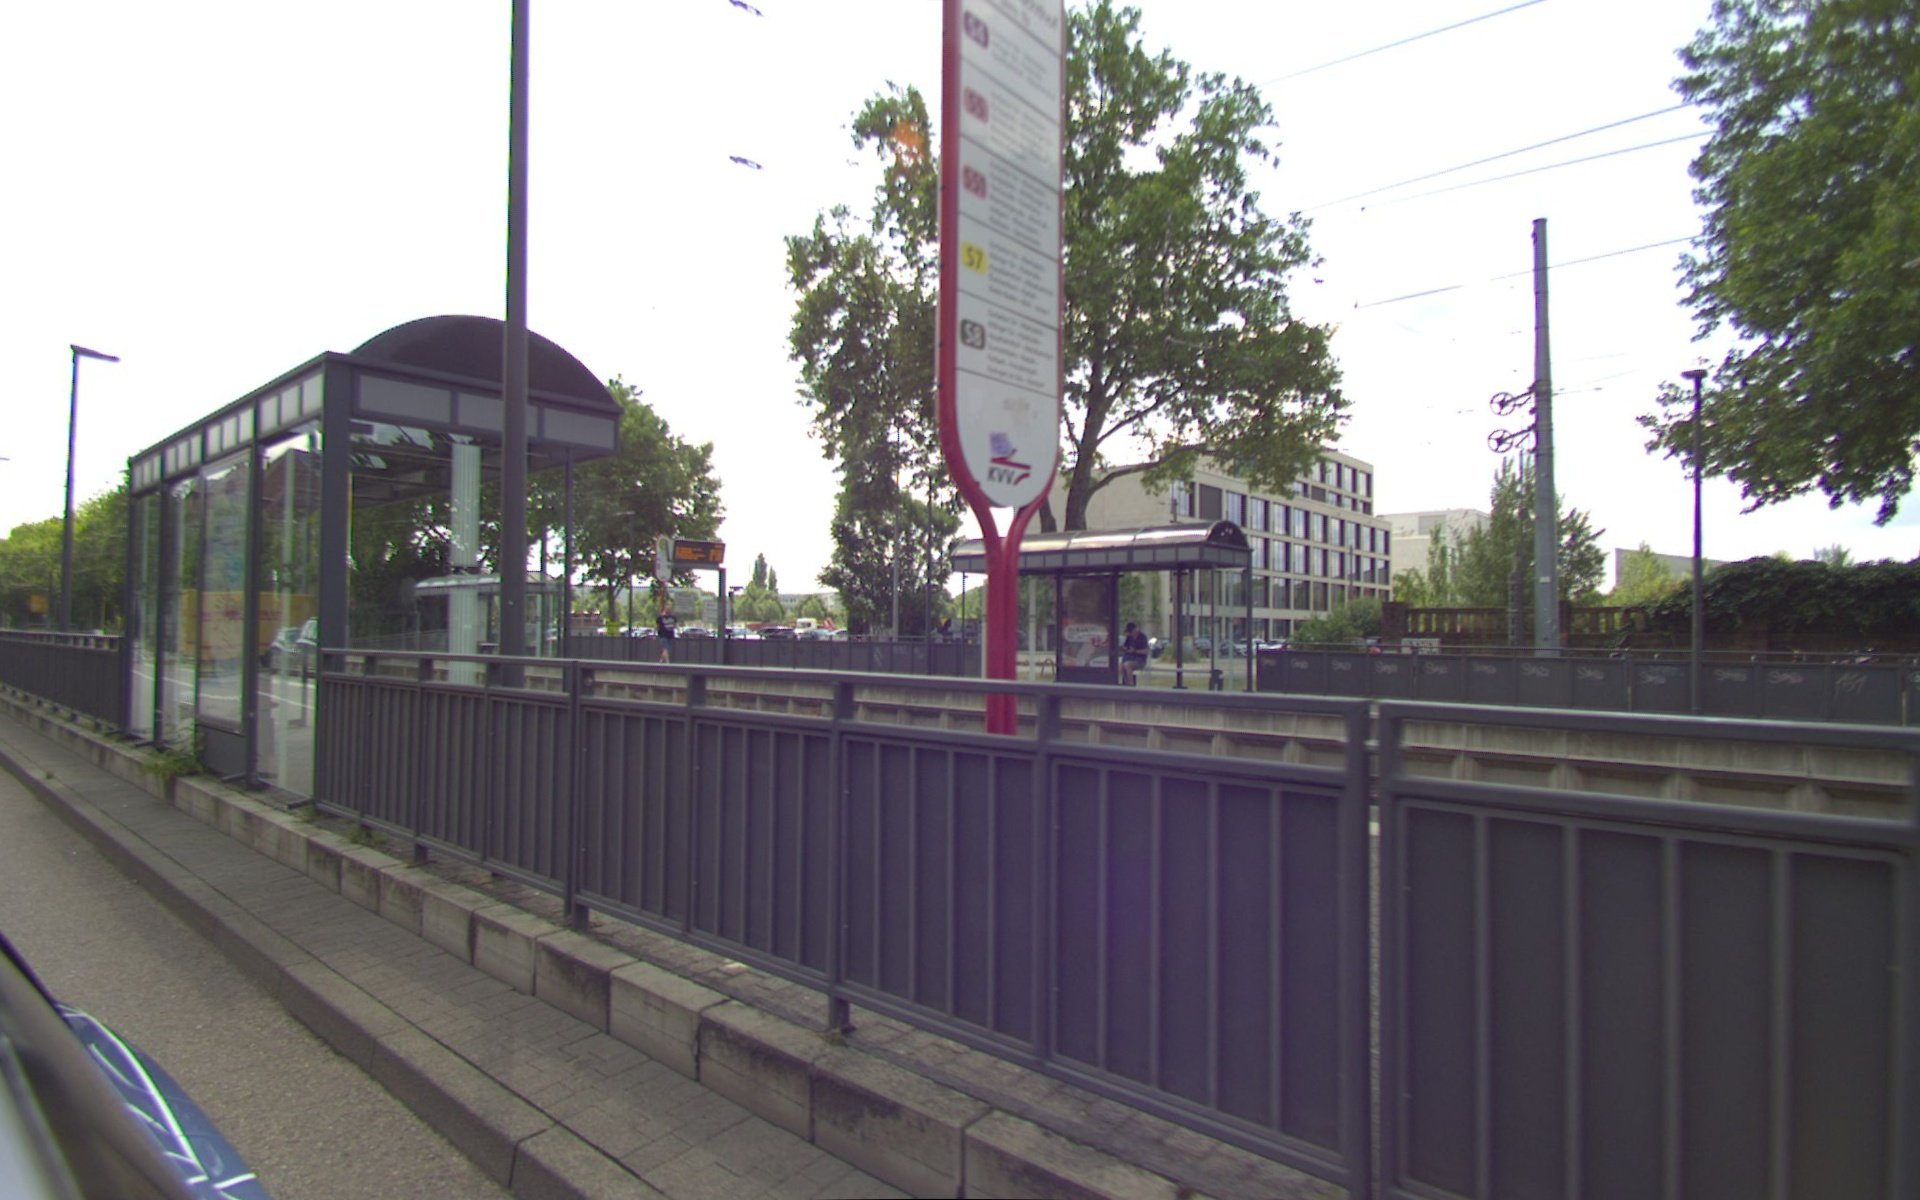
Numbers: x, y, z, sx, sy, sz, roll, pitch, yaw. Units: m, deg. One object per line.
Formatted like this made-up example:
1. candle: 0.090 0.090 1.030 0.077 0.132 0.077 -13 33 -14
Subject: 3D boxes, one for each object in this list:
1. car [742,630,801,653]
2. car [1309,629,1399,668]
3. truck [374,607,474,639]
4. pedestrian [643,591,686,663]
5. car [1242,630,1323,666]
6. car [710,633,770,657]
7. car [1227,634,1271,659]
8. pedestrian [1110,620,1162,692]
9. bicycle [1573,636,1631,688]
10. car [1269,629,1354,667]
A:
1. car: -12.671 2.770 68.028 3.998 1.487 1.779 -2 -3 41
2. car: 21.792 2.688 55.992 4.362 2.029 2.006 3 -3 -21
3. truck: -78.394 3.478 148.383 2.748 4.105 12.649 -1 -4 42
4. pedestrian: -7.820 0.709 26.785 0.864 1.859 0.699 -1 -3 40
5. car: 19.588 2.894 61.409 4.362 2.029 2.006 3 -3 -21
6. car: -14.366 2.921 65.860 3.998 1.487 1.779 -2 -3 41
7. car: 22.422 3.601 78.561 1.759 1.828 3.990 -1 -4 41
8. pedestrian: 3.207 1.002 18.456 0.768 1.279 0.546 -2 -3 43
9. bicycle: 17.119 1.623 26.940 3.003 1.176 0.635 -2 0 -45
10. car: 20.487 2.800 59.006 4.362 2.029 2.006 3 -3 -21
